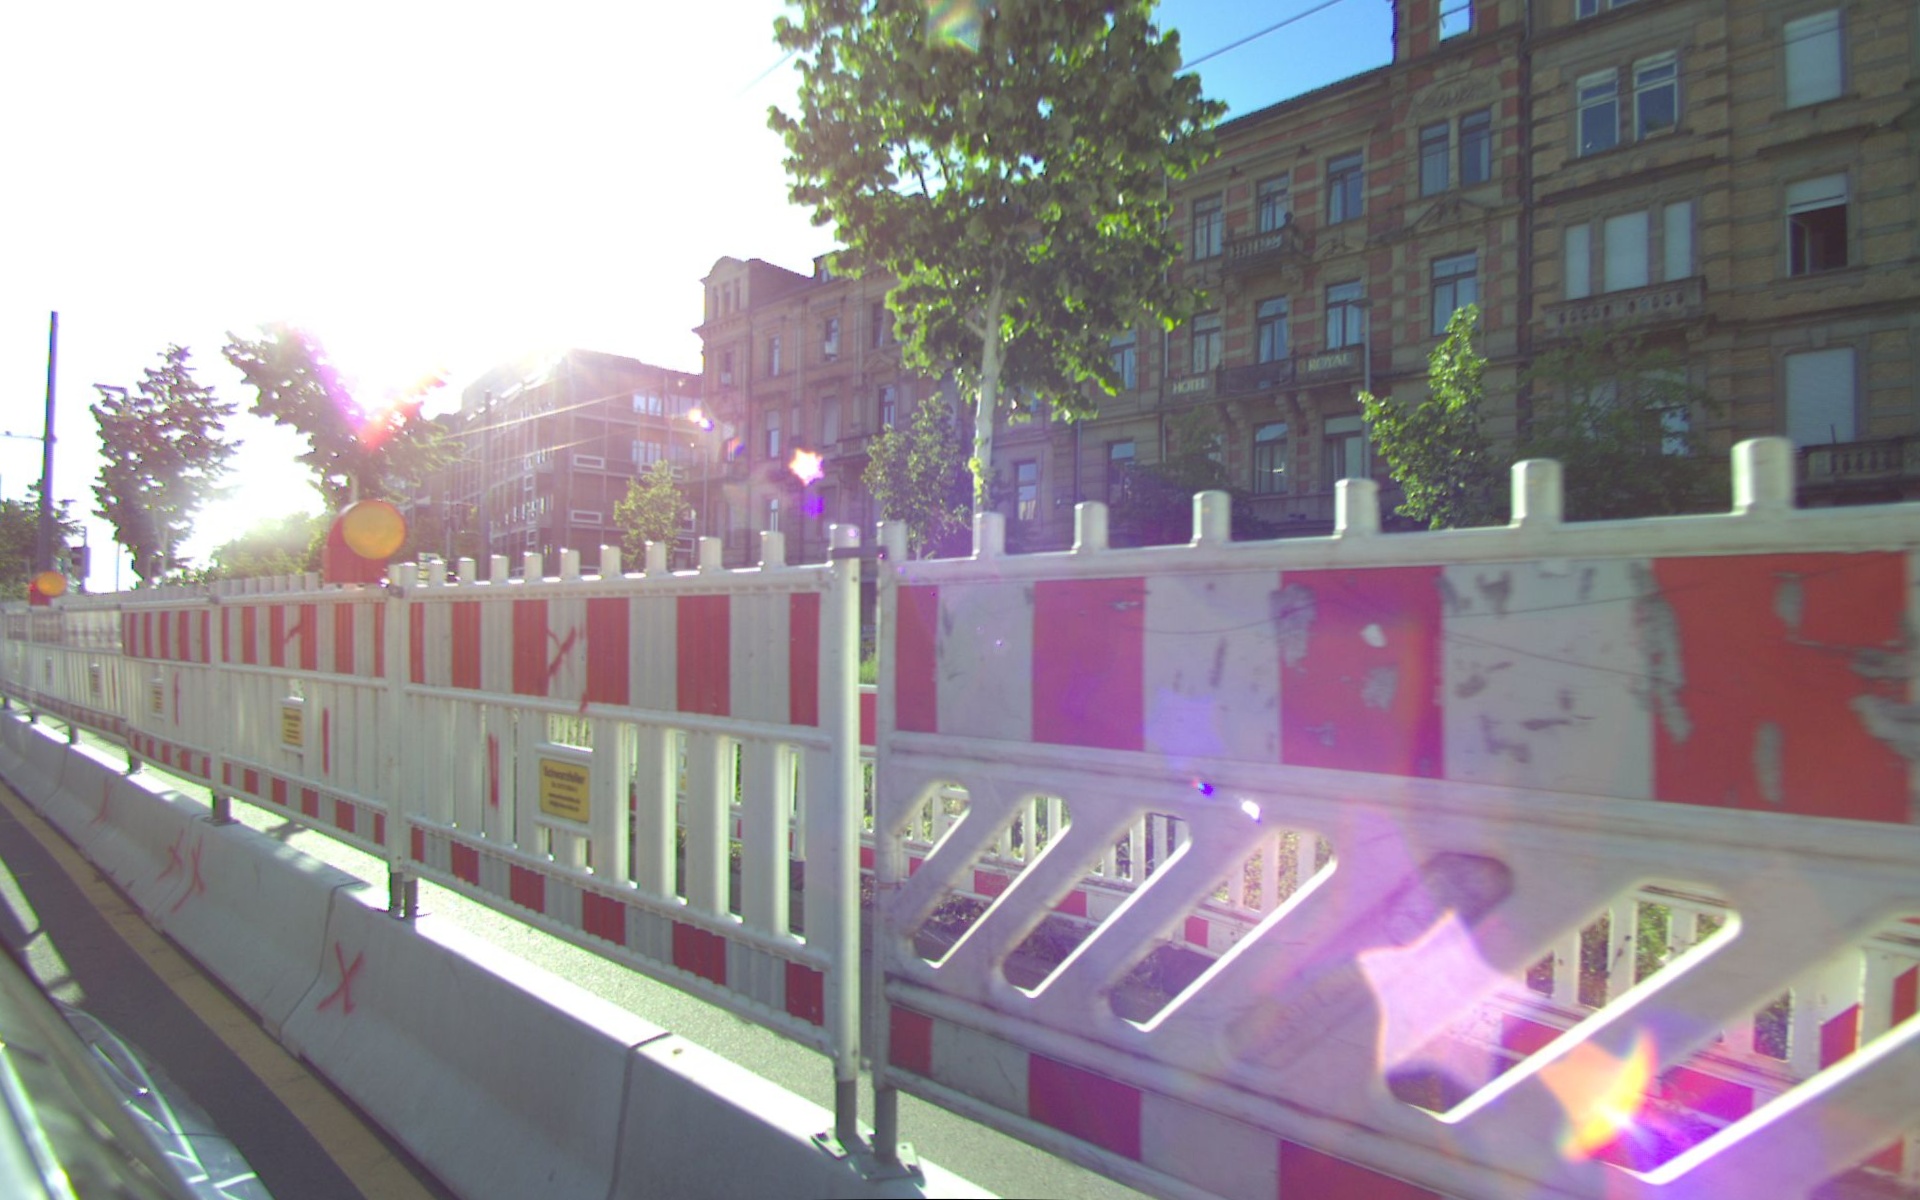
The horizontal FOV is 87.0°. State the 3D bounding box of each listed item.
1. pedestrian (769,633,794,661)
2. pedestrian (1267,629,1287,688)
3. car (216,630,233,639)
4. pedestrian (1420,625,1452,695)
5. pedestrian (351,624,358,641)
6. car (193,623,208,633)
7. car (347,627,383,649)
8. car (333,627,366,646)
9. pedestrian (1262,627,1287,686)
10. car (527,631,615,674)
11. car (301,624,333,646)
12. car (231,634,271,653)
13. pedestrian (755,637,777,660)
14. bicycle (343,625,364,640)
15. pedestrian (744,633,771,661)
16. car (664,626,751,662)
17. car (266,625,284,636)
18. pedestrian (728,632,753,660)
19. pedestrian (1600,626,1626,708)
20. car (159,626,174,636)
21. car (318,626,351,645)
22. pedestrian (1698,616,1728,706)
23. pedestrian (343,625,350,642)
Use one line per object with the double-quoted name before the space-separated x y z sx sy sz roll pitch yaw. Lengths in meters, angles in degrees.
"pedestrian" -7.899 2.065 44.750 0.929 1.217 0.682 -2 -3 43
"pedestrian" 8.655 1.599 27.651 0.401 1.597 0.367 -1 -1 3
"car" -116.566 5.486 160.332 1.695 1.398 4.044 2 -3 -42
"pedestrian" 11.055 1.379 23.499 0.533 1.597 0.481 -2 -1 42
"pedestrian" -60.438 3.262 101.066 0.513 1.735 0.537 3 -3 -37
"car" -124.130 4.591 165.385 1.607 1.507 3.785 3 -3 -40
"car" -43.959 2.786 74.768 1.628 1.566 3.972 2 -3 -40
"car" -47.670 2.847 79.034 1.604 1.452 3.825 1 -2 -40
"pedestrian" 8.704 1.560 28.016 0.475 1.597 0.484 -1 -1 -3
"car" -14.244 1.879 37.014 3.623 1.494 1.577 -2 -3 43
"car" -54.927 3.006 86.393 1.729 1.785 4.337 1 -2 -40
"car" -58.187 3.557 83.063 4.069 1.431 1.832 -2 -3 43
"pedestrian" -8.964 2.226 46.671 0.736 1.067 0.682 -2 -3 43
"bicycle" -40.900 2.198 68.216 1.827 0.985 0.687 -2 -3 43
"pedestrian" -9.036 2.084 45.149 0.929 1.217 0.782 -2 -3 43
"car" -14.028 2.482 56.433 1.895 1.918 4.467 -1 -3 37
"car" -96.030 4.295 141.861 1.700 1.556 3.636 0 -2 -41
"pedestrian" -10.111 2.124 46.568 0.929 1.256 0.682 -2 -3 43
"pedestrian" 14.431 1.463 22.356 0.406 1.778 0.363 -2 -1 42
"car" -134.102 5.238 171.070 1.707 1.760 4.126 2 -3 -42
"car" -50.996 2.886 82.468 1.716 1.548 3.890 1 -3 -40
"pedestrian" 15.117 1.214 20.311 0.406 1.778 0.502 -2 -1 42
"pedestrian" -61.056 3.339 100.665 0.513 1.590 0.537 3 -3 -37
